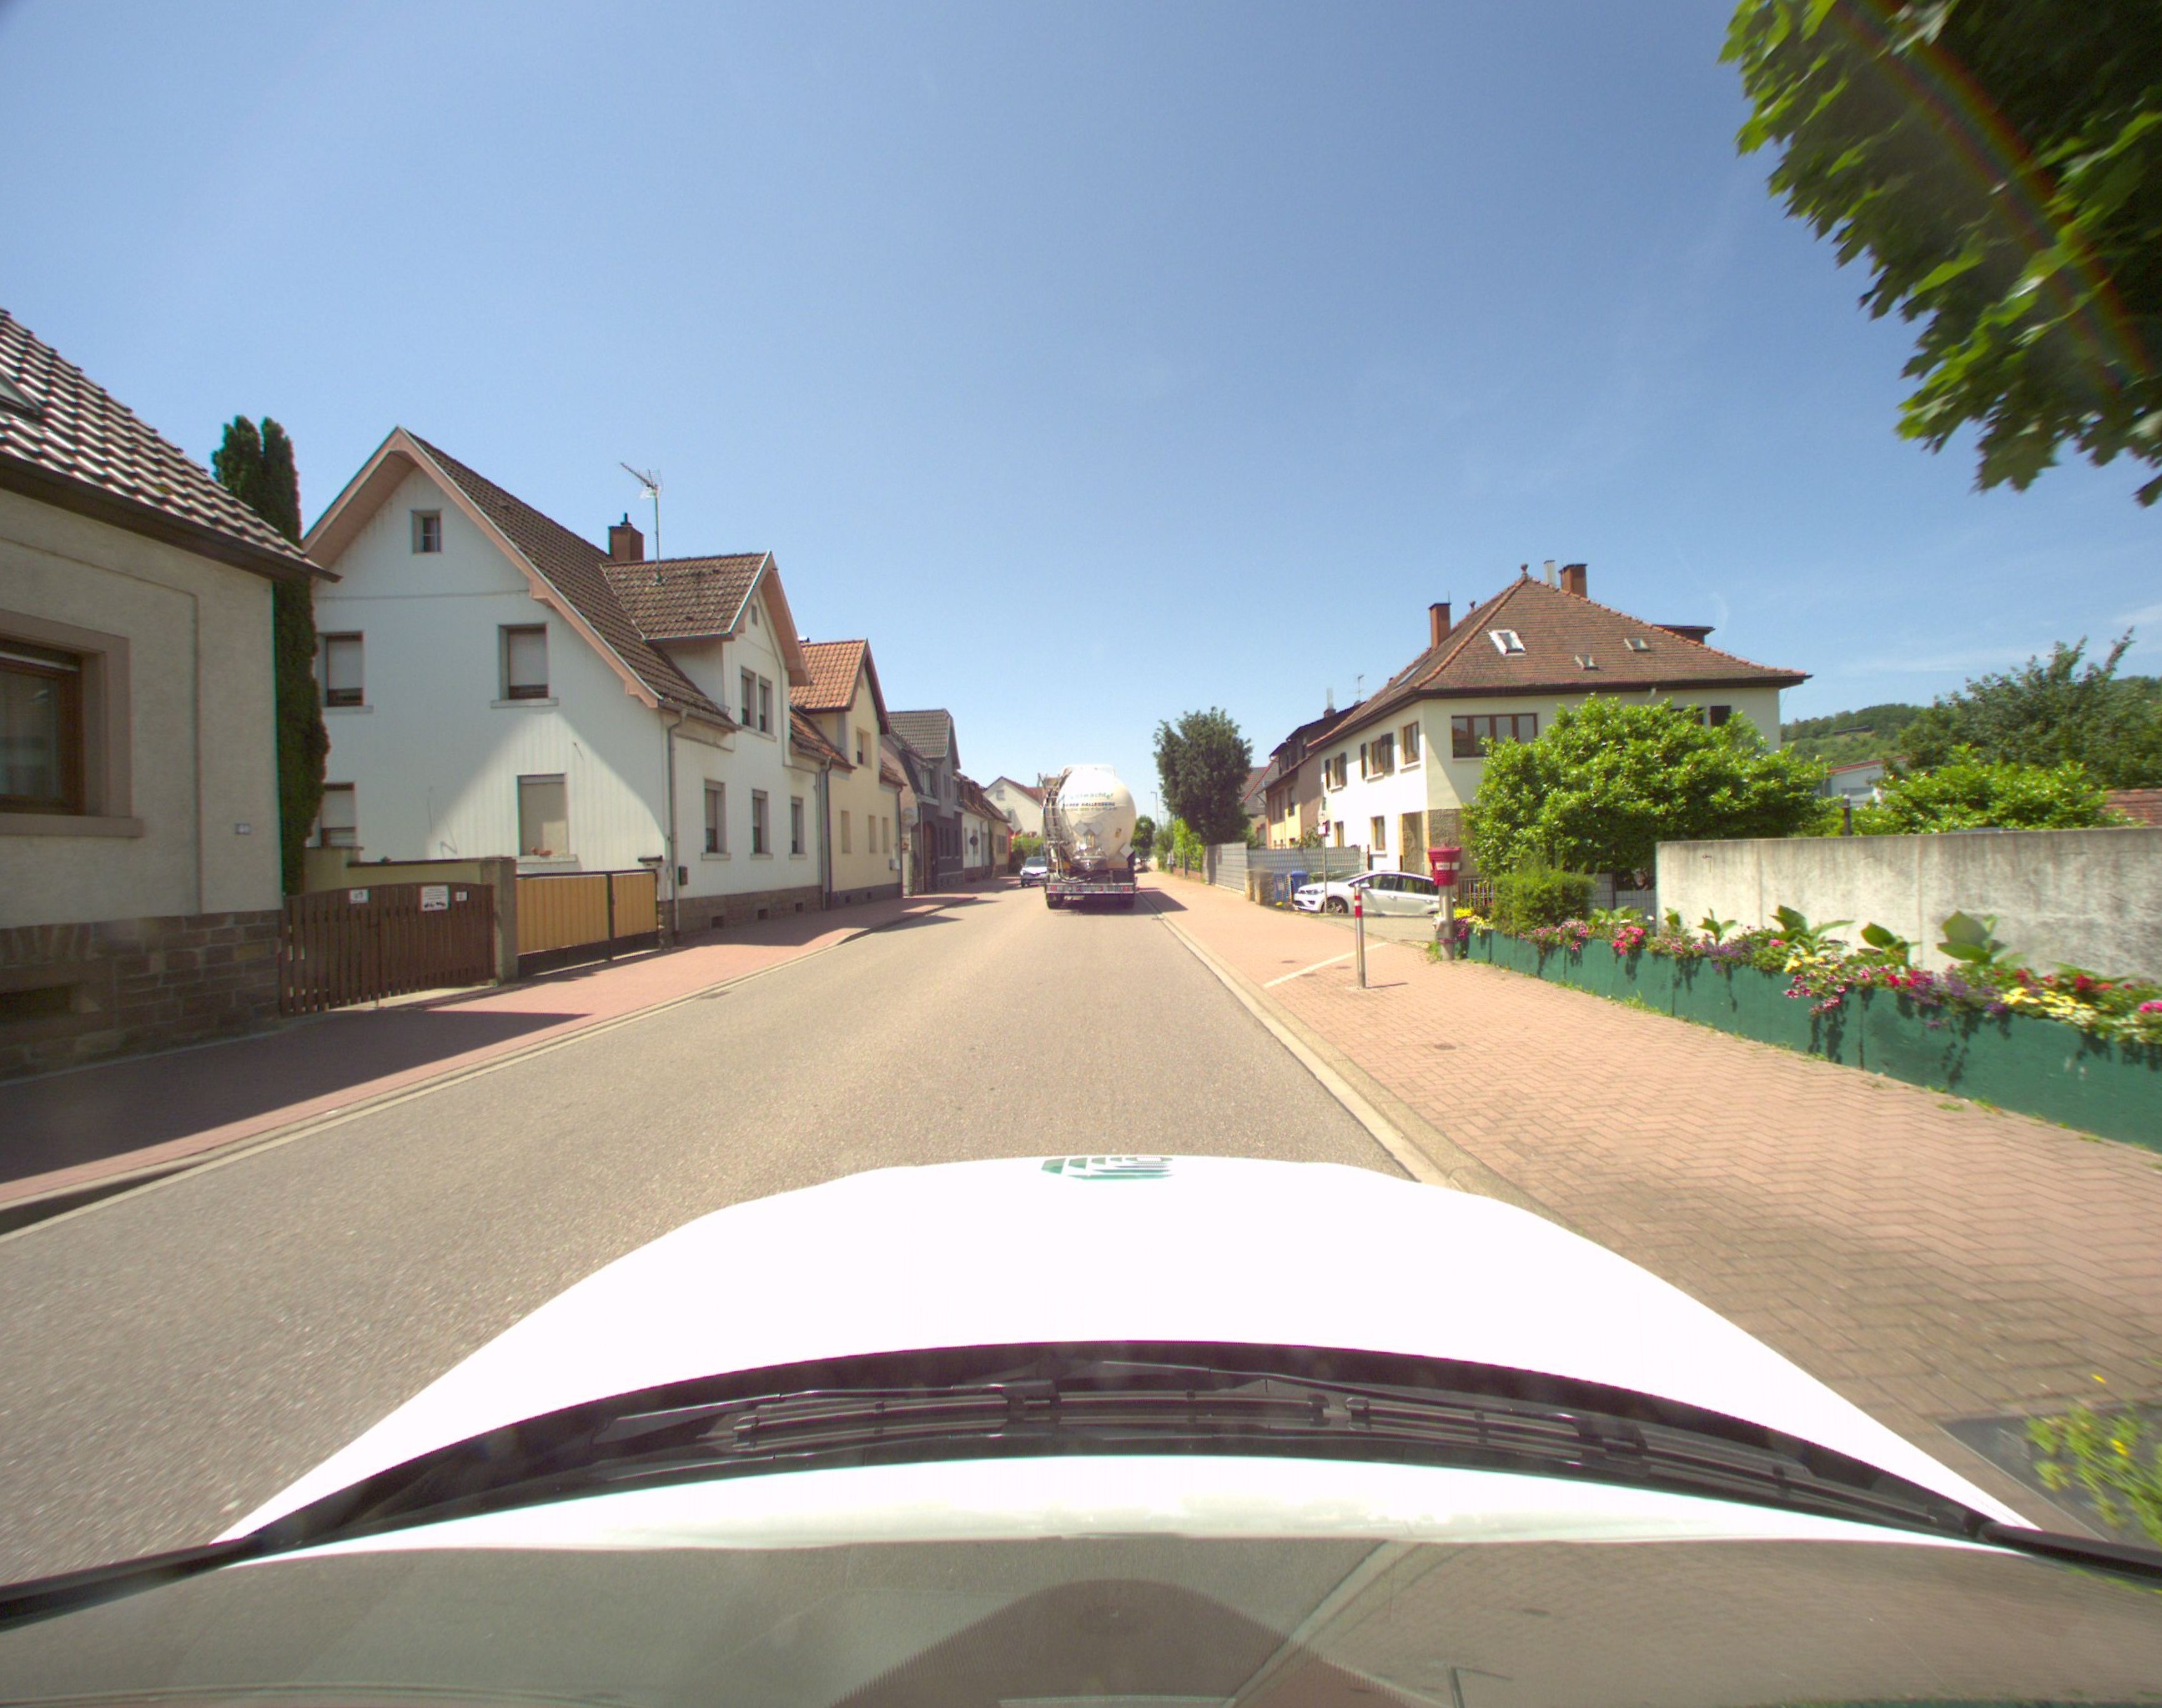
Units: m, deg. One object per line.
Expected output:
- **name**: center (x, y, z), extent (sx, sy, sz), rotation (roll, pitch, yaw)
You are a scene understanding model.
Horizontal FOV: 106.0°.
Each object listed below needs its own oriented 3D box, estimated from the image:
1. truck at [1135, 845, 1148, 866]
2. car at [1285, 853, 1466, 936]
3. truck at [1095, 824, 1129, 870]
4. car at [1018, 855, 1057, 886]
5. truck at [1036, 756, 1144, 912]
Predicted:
- **truck**: center (9.427, 0.205, 127.402), extent (1.984, 3.137, 9.459), rotation (0, 0, 4)
- **car**: center (7.970, 1.073, 22.340), extent (4.155, 1.587, 1.907), rotation (8, 0, 1)
- **truck**: center (2.897, -0.521, 74.421), extent (2.720, 3.960, 8.151), rotation (0, -1, 4)
- **car**: center (-2.428, 0.936, 46.722), extent (1.844, 1.571, 4.255), rotation (-4, -1, 1)
- **truck**: center (0.299, -0.473, 24.839), extent (2.723, 3.960, 8.142), rotation (0, -1, 1)
